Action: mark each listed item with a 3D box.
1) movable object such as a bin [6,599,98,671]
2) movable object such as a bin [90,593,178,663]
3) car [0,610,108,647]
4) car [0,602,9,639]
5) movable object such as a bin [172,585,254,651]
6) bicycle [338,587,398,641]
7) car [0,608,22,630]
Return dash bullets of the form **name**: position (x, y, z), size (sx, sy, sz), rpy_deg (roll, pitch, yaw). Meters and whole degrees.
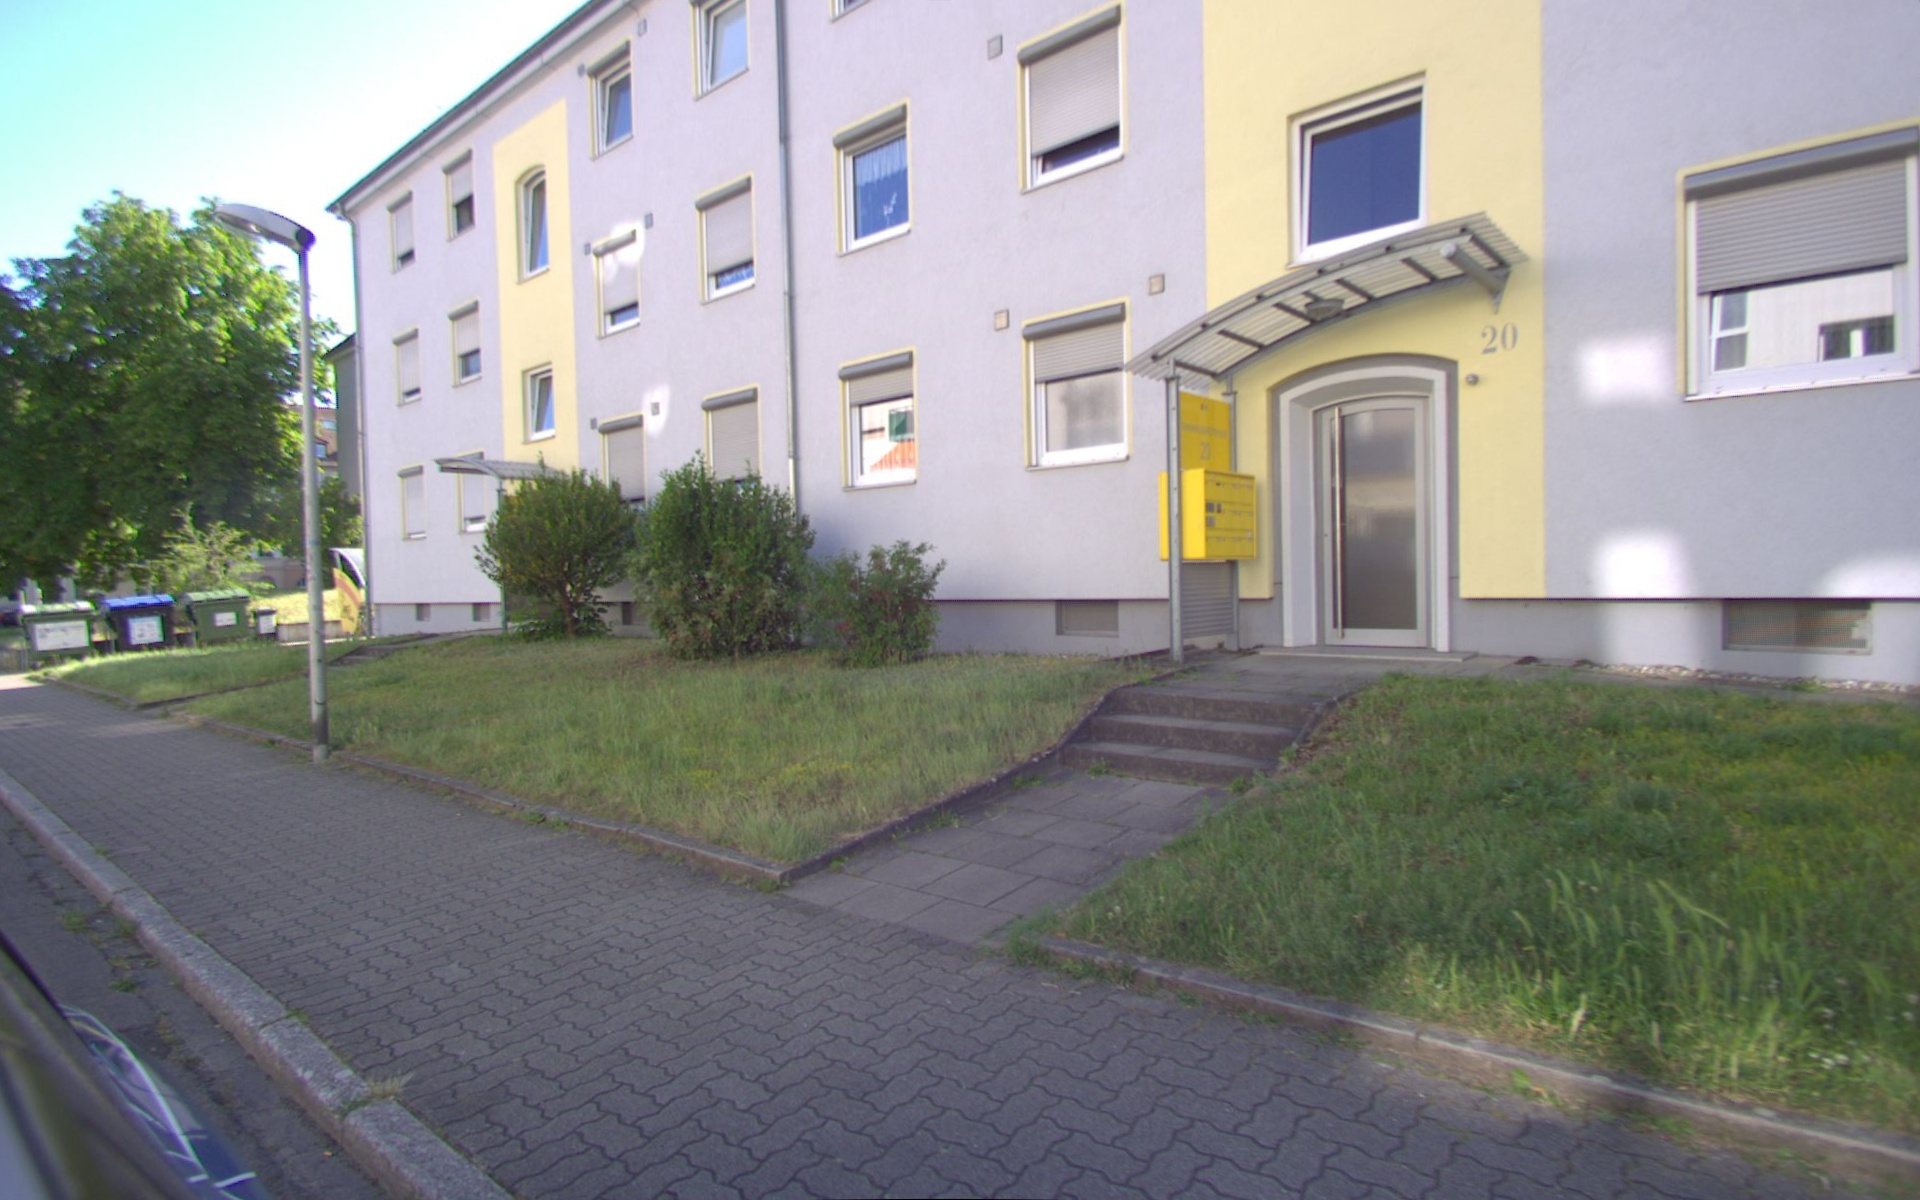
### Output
- **movable object such as a bin**: position (-20.569, 0.772, 22.938), size (1.198, 1.470, 1.302), rpy_deg (-1, 5, 41)
- **movable object such as a bin**: position (-19.665, 0.649, 24.100), size (1.082, 1.470, 1.341), rpy_deg (-1, 5, 41)
- **car**: position (-40.901, 1.257, 45.229), size (1.728, 1.508, 4.087), rpy_deg (-1, 0, 41)
- **car**: position (-44.414, 0.932, 45.992), size (1.655, 1.667, 3.306), rpy_deg (-1, 0, -45)
- **movable object such as a bin**: position (-18.668, 0.438, 25.302), size (1.072, 1.464, 1.347), rpy_deg (-1, 5, 41)
- **bicycle**: position (-14.487, 0.341, 24.747), size (2.008, 1.260, 0.633), rpy_deg (-1, 2, 41)
- **car**: position (-66.821, 1.328, 69.224), size (1.624, 1.456, 3.737), rpy_deg (-1, 0, 43)
